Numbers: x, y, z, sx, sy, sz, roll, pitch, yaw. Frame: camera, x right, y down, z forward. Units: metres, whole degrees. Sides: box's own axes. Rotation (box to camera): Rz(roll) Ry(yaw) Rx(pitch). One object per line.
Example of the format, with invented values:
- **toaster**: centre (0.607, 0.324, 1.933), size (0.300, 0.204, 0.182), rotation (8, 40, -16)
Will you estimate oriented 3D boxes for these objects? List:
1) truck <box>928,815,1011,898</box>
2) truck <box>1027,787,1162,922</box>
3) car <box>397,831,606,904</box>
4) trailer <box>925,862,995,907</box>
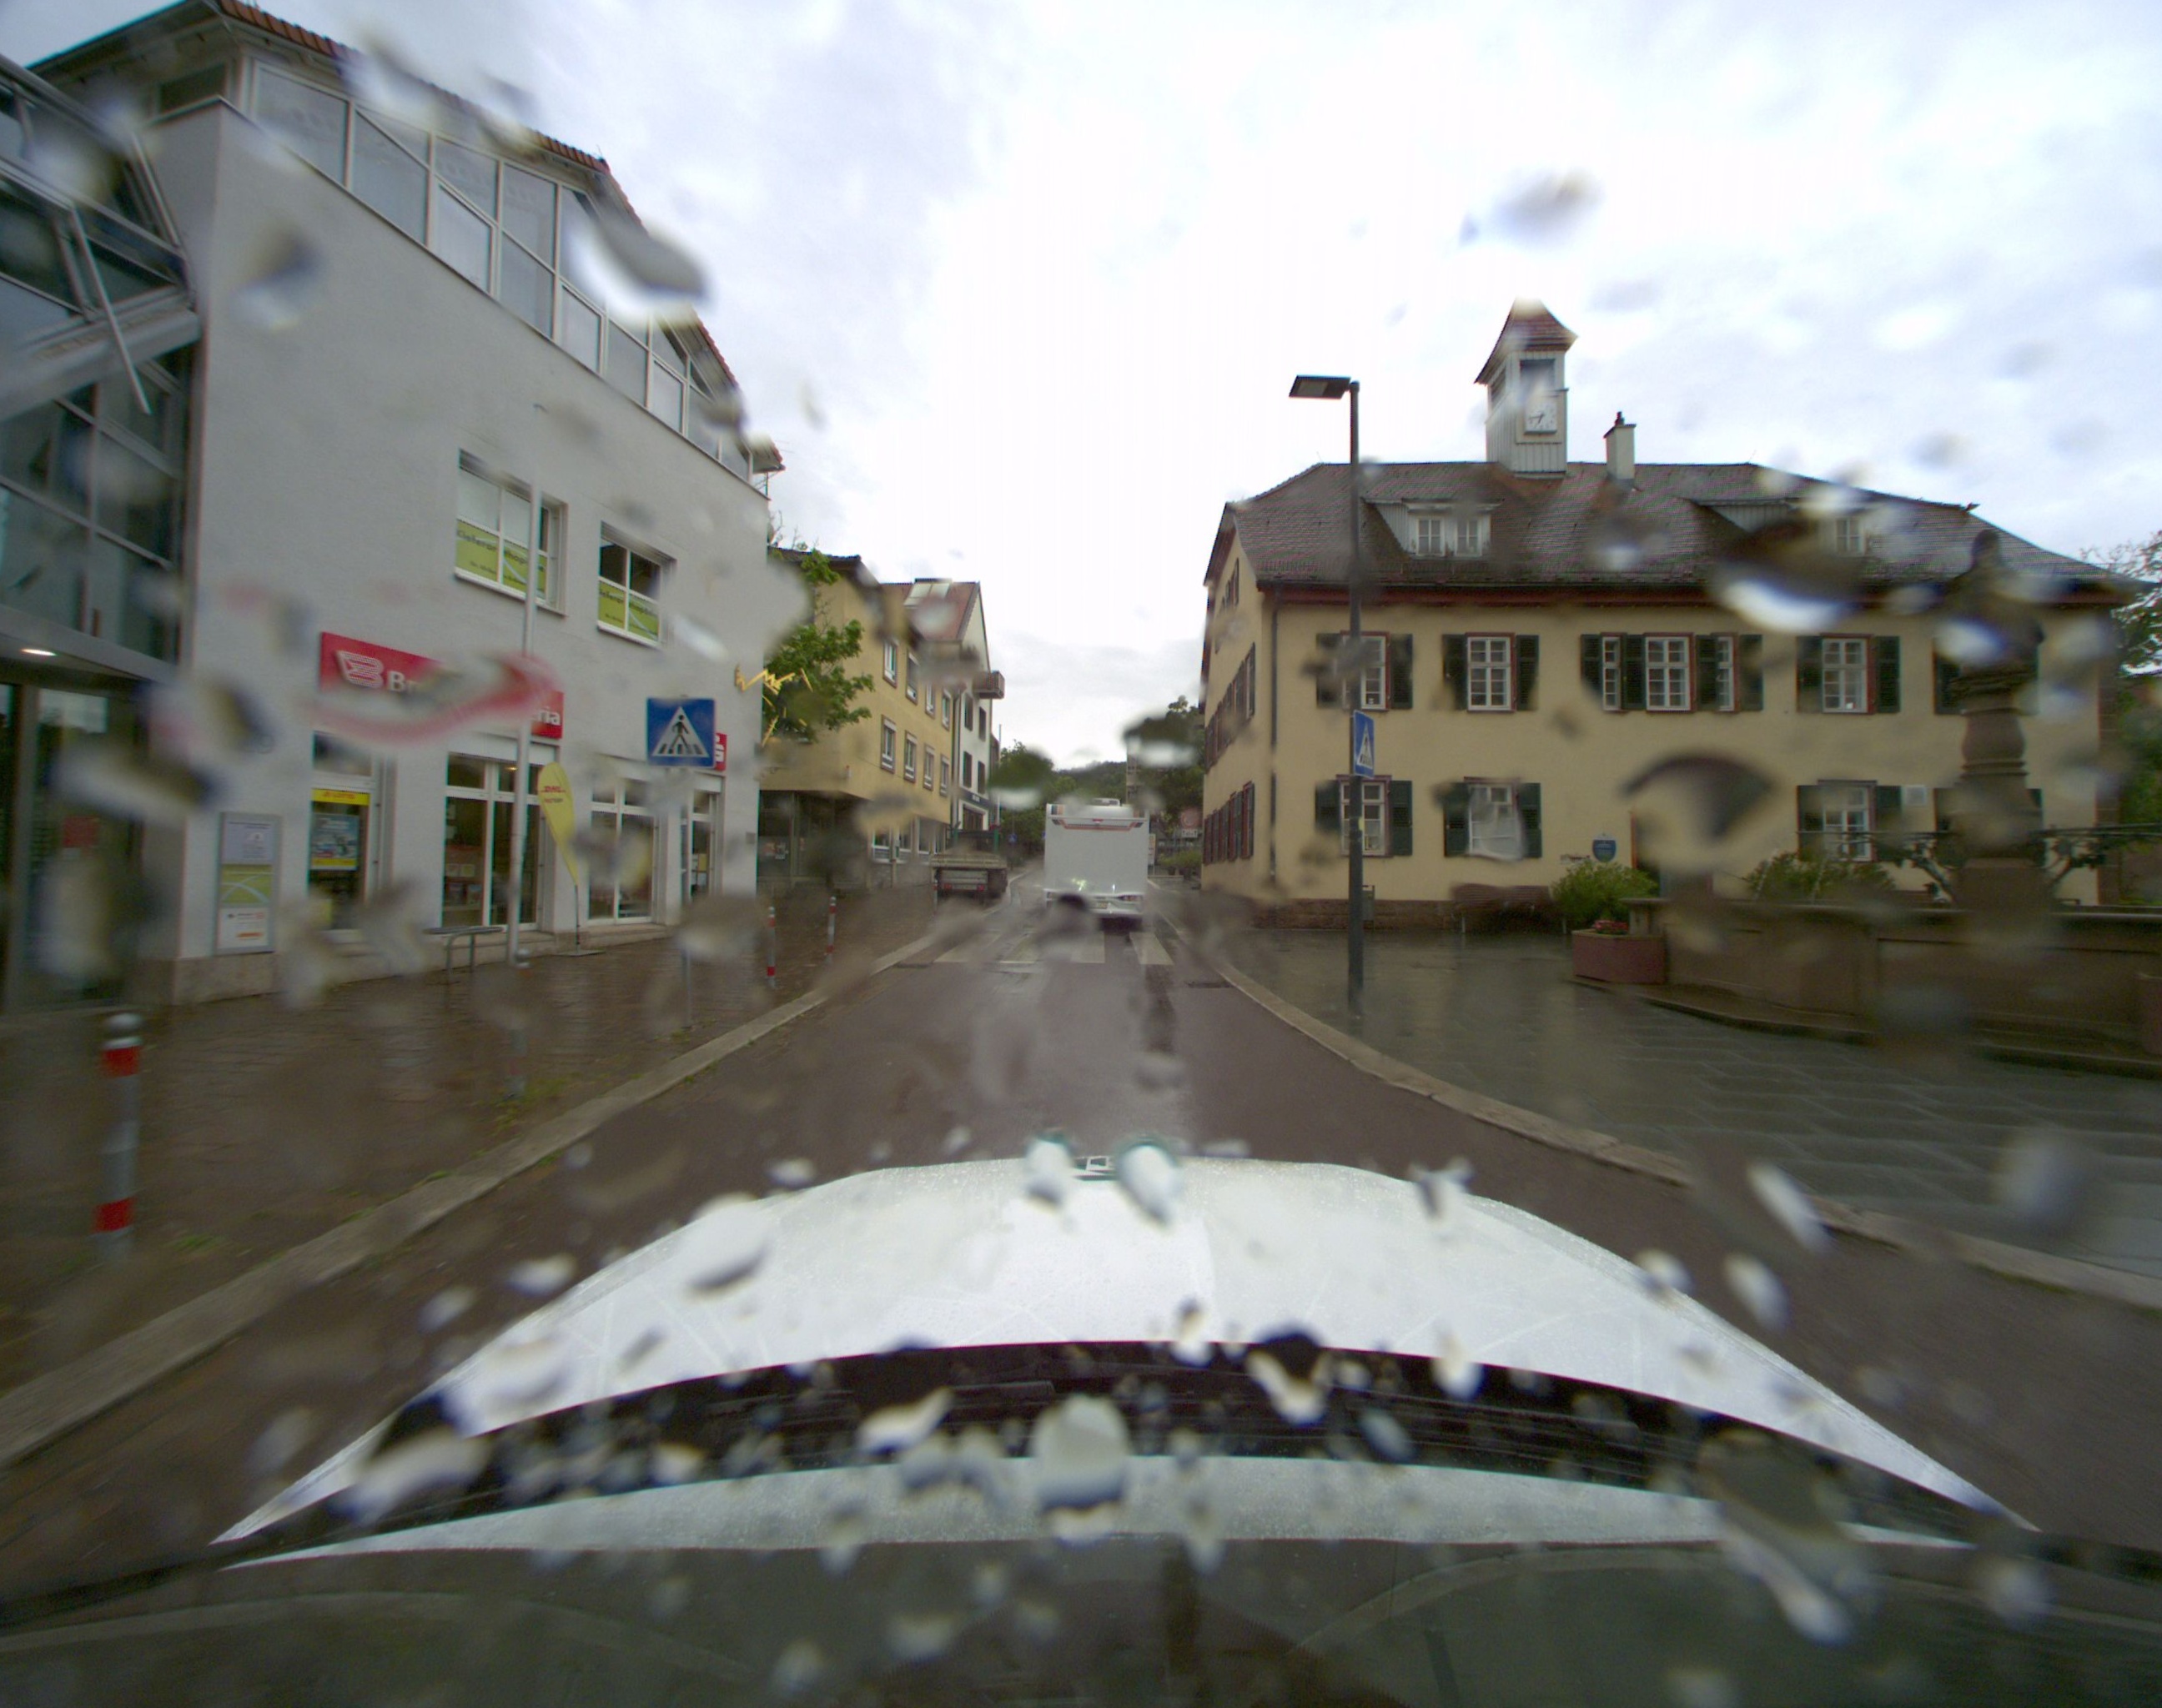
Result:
- **truck**: centre (-3.837, -0.025, 29.179), size (2.394, 2.594, 6.476), rotation (1, 2, -3)
- **truck**: centre (0.410, 0.046, 19.968), size (2.795, 2.797, 6.110), rotation (0, -1, 2)
- **car**: centre (-13.836, 0.330, 19.504), size (4.077, 1.618, 1.864), rotation (-1, -1, 15)
- **trailer**: centre (-3.565, 0.869, 24.460), size (1.849, 1.124, 3.016), rotation (1, 2, -4)
